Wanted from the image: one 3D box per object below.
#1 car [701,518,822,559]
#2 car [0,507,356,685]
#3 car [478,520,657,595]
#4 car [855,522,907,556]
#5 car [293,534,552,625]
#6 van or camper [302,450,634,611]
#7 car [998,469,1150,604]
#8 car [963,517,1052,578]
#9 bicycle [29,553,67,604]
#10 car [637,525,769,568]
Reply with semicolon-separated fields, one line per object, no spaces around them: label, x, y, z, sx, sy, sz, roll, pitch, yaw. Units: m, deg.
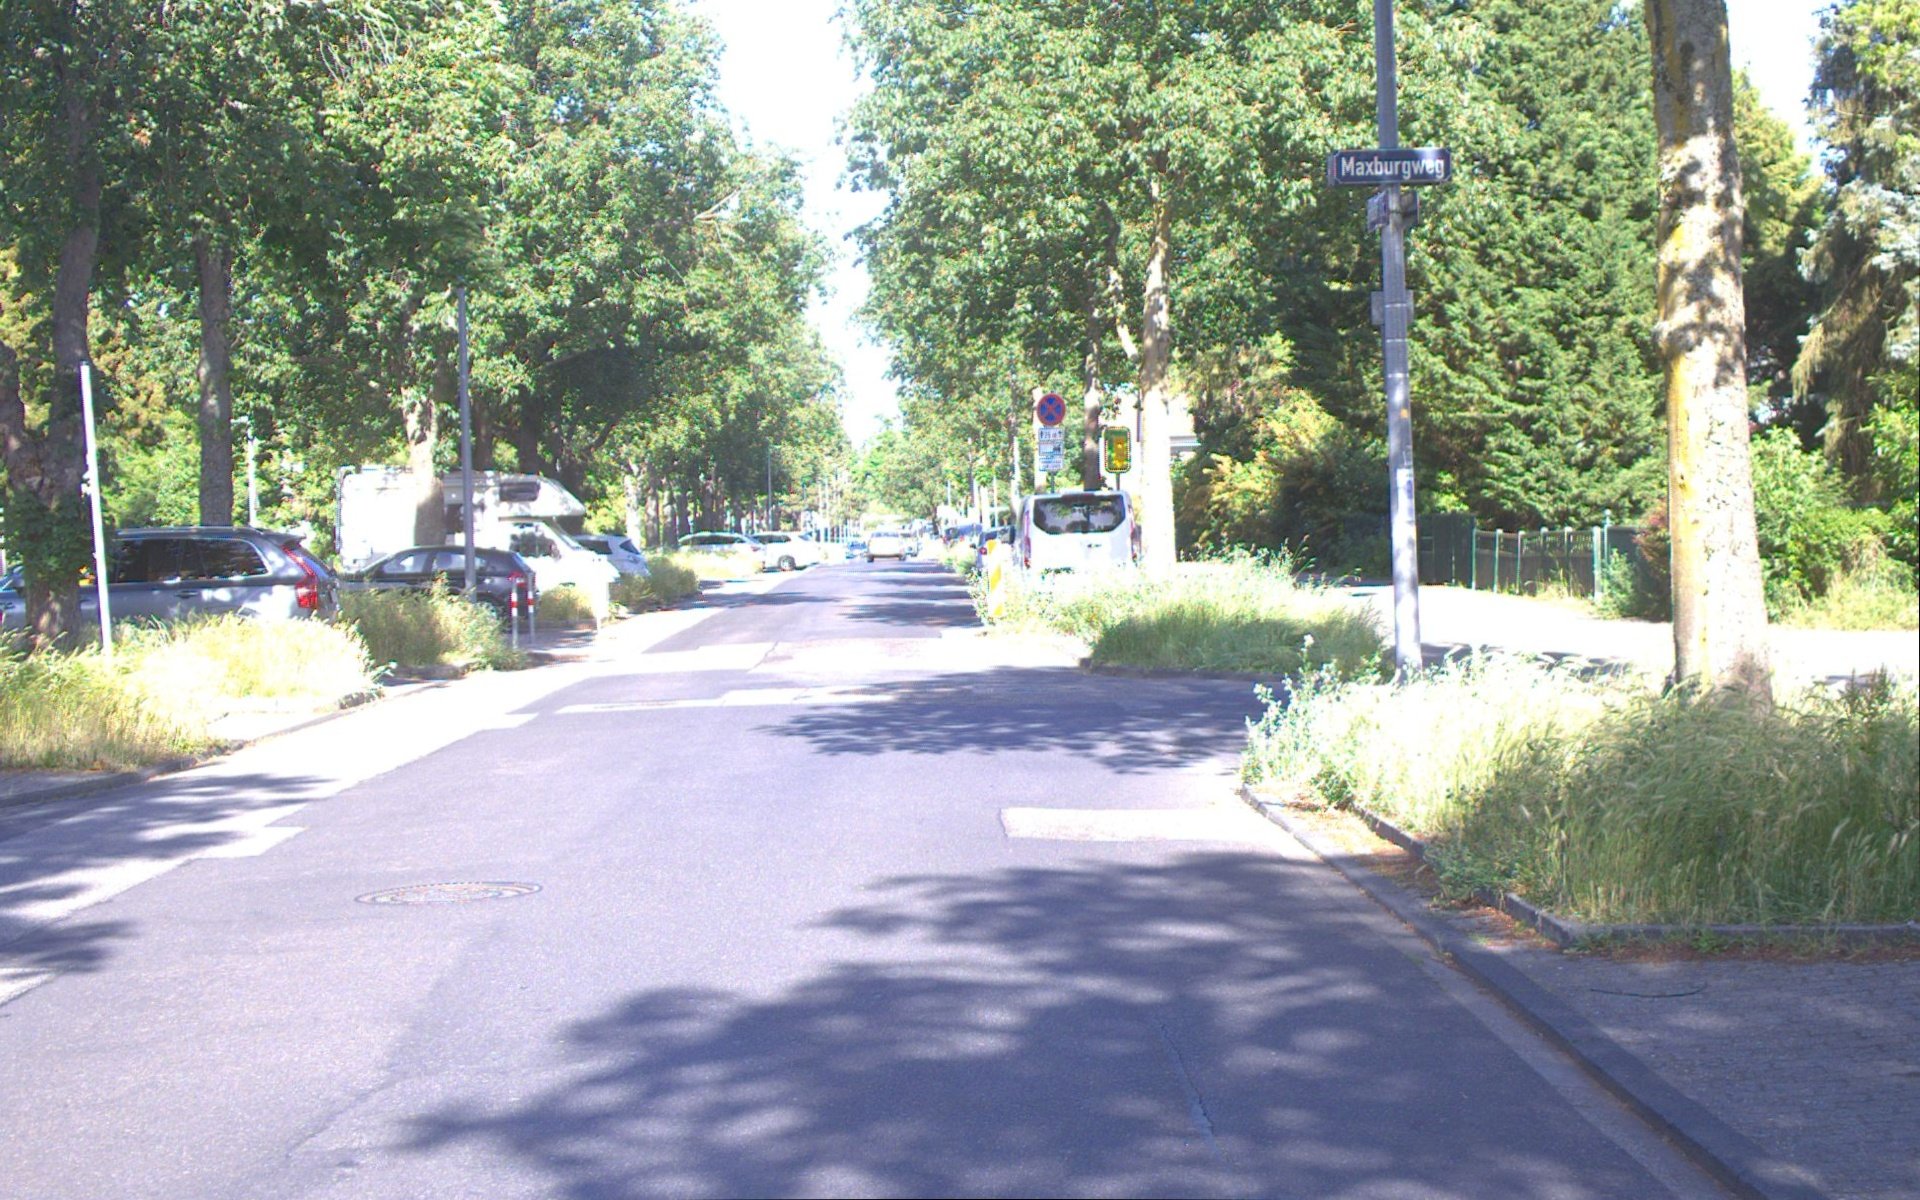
car;-7.418;-2.310;128.723;4.212;1.450;2.000;-1;1;8
car;-8.976;-0.073;35.855;5.060;1.722;2.000;1;1;-5
car;-9.161;-1.002;80.500;3.986;1.655;1.967;-1;1;-2
car;-3.663;-2.821;159.290;1.993;1.503;3.659;1;1;-7
car;-8.879;-0.344;56.954;3.987;1.445;1.639;1;1;3
van or camper;-9.077;-1.278;63.758;5.776;2.795;2.000;2;1;1
car;1.772;-0.996;55.054;1.993;2.007;5.197;1;1;-2
car;1.296;-1.400;92.493;1.994;1.505;3.999;-2;0;6
bicycle;-22.626;-0.545;85.248;0.703;1.172;4.058;-2;2;-17
car;-9.460;-1.976;126.764;4.671;1.498;2.000;-1;1;1
